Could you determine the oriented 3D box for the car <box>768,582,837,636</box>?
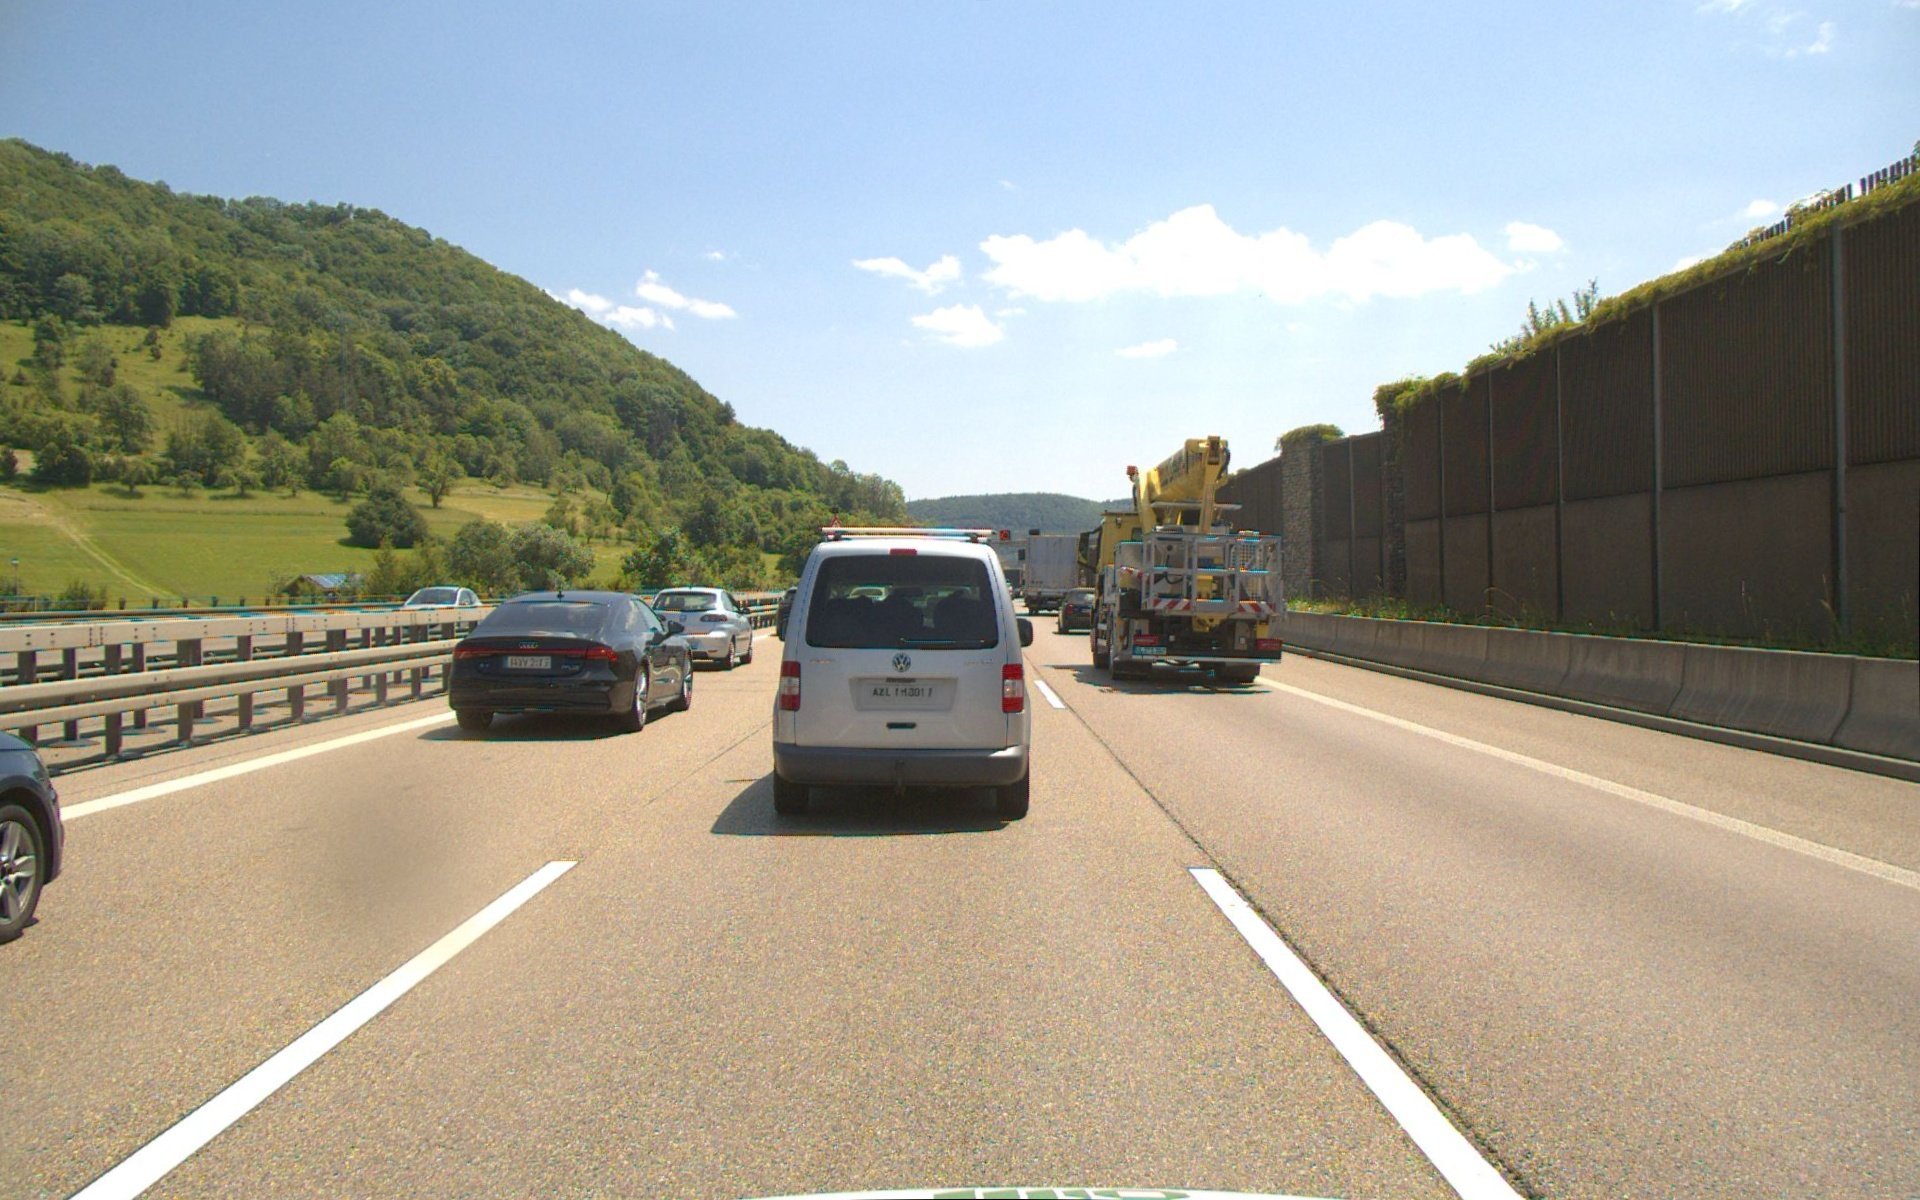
[{"bbox_3d":[-4.667,0.245,49.444,1.887,1.525,3.997,1,0,-4],"label":"car"}]

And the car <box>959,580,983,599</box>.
[{"bbox_3d":[1.107,-1.004,162.964,2.072,1.859,3.997,1,0,-4],"label":"car"}]

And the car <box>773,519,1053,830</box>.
[{"bbox_3d":[-0.403,0.435,12.193,1.721,1.900,3.997,0,0,-4],"label":"car"}]

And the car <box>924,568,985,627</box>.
[{"bbox_3d":[-0.223,-0.110,58.851,1.954,2.010,3.997,0,0,-4],"label":"car"}]

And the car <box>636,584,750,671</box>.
[{"bbox_3d":[-4.800,0.452,30.161,1.662,1.470,3.859,0,0,-3],"label":"car"}]

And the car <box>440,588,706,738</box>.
[{"bbox_3d":[-4.075,0.579,18.268,1.764,1.414,4.969,0,0,0],"label":"car"}]

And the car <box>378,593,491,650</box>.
[{"bbox_3d":[-14.874,0.586,47.004,1.953,1.523,3.999,1,0,-1],"label":"car"}]

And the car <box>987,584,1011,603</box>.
[{"bbox_3d":[3.934,-0.675,166.384,2.072,1.859,3.997,1,0,-4],"label":"car"}]

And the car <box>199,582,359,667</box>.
[{"bbox_3d":[-15.626,0.530,38.230,1.953,1.823,4.275,1,0,-1],"label":"car"}]

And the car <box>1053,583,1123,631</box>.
[{"bbox_3d":[4.131,0.198,53.847,1.751,1.484,3.768,0,0,-4],"label":"car"}]

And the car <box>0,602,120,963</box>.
[{"bbox_3d":[-4.599,0.735,5.423,1.654,1.413,4.000,0,0,0],"label":"car"}]

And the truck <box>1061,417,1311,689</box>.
[{"bbox_3d":[3.618,-0.731,28.827,2.650,4.011,8.716,0,0,-4],"label":"truck"}]

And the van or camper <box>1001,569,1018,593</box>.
[{"bbox_3d":[6.515,-2.478,217.196,1.953,3.005,5.422,1,0,-1],"label":"van or camper"}]

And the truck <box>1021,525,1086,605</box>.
[{"bbox_3d":[4.733,-1.716,84.929,2.880,3.890,8.237,1,0,0],"label":"truck"}]

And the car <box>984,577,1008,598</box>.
[{"bbox_3d":[3.113,-1.059,145.061,1.953,1.779,3.999,1,0,-1],"label":"car"}]
